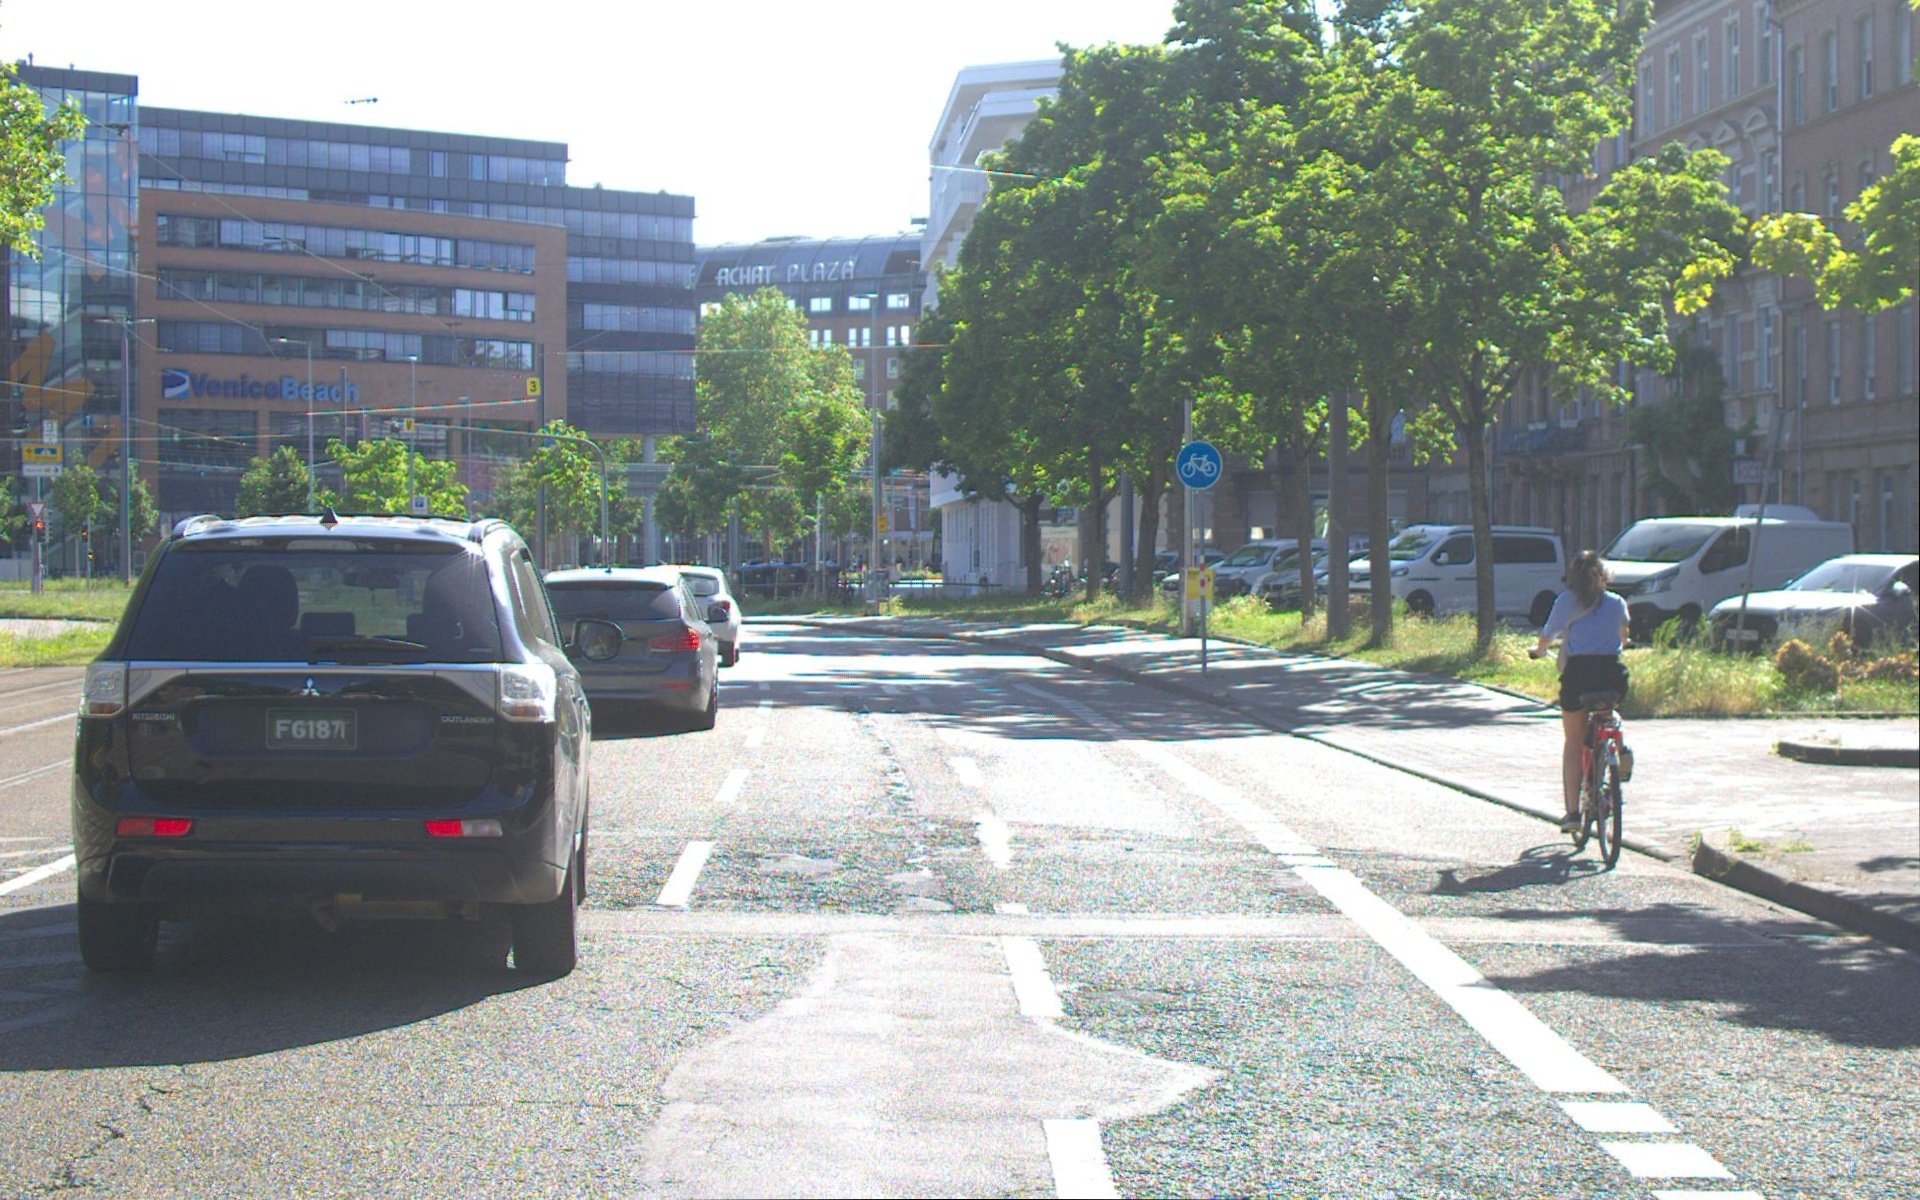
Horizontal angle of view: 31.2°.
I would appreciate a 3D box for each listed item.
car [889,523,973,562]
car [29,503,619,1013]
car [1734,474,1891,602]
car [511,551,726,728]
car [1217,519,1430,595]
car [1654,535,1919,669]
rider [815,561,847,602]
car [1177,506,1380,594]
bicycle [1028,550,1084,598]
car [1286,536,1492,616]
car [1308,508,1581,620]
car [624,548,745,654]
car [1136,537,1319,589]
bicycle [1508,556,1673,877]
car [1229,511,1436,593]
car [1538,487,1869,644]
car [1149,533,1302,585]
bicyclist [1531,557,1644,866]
[{"bbox_3d":[-1.491,-2.946,177.457,3.989,2.007,1.999,0,1,12],"label":"car"},{"bbox_3d":[-2.339,0.512,13.747,1.836,1.676,4.643,1,0,-5],"label":"car"},{"bbox_3d":[18.021,-1.347,72.888,1.993,2.576,4.514,-2,2,-2],"label":"car"},{"bbox_3d":[-3.031,0.362,30.966,1.734,1.418,4.468,2,-1,-4],"label":"car"},{"bbox_3d":[8.856,-1.048,83.646,4.865,1.642,2.101,-3,1,-33],"label":"car"},{"bbox_3d":[11.008,-0.017,42.436,4.866,1.430,2.020,-3,2,-36],"label":"car"},{"bbox_3d":[-3.788,-0.543,101.368,0.502,1.172,1.675,0,2,14],"label":"rider"},{"bbox_3d":[8.002,-1.256,86.179,4.866,2.006,2.100,-3,1,-37],"label":"car"},{"bbox_3d":[2.675,-0.732,95.337,0.769,1.285,1.594,0,2,36],"label":"bicycle"},{"bbox_3d":[8.830,-0.501,70.625,4.018,1.473,1.812,-3,1,-37],"label":"car"},{"bbox_3d":[9.576,-0.727,67.805,5.171,2.006,2.101,-3,1,-33],"label":"car"},{"bbox_3d":[-4.015,0.038,49.860,1.632,1.418,3.782,2,-1,-5],"label":"car"},{"bbox_3d":[7.204,-1.014,92.290,4.738,1.375,2.046,-1,1,-37],"label":"car"},{"bbox_3d":[3.403,0.588,18.673,0.437,1.633,1.939,0,1,-3],"label":"bicycle"},{"bbox_3d":[8.713,-1.124,80.301,4.498,1.721,2.000,-3,1,-33],"label":"car"},{"bbox_3d":[10.840,-0.536,49.962,4.866,2.068,2.020,-3,2,-38],"label":"car"},{"bbox_3d":[8.138,-1.264,105.148,4.456,1.560,1.938,-1,1,-35],"label":"car"},{"bbox_3d":[3.402,0.587,18.674,0.437,1.633,0.779,0,1,-3],"label":"bicyclist"}]
